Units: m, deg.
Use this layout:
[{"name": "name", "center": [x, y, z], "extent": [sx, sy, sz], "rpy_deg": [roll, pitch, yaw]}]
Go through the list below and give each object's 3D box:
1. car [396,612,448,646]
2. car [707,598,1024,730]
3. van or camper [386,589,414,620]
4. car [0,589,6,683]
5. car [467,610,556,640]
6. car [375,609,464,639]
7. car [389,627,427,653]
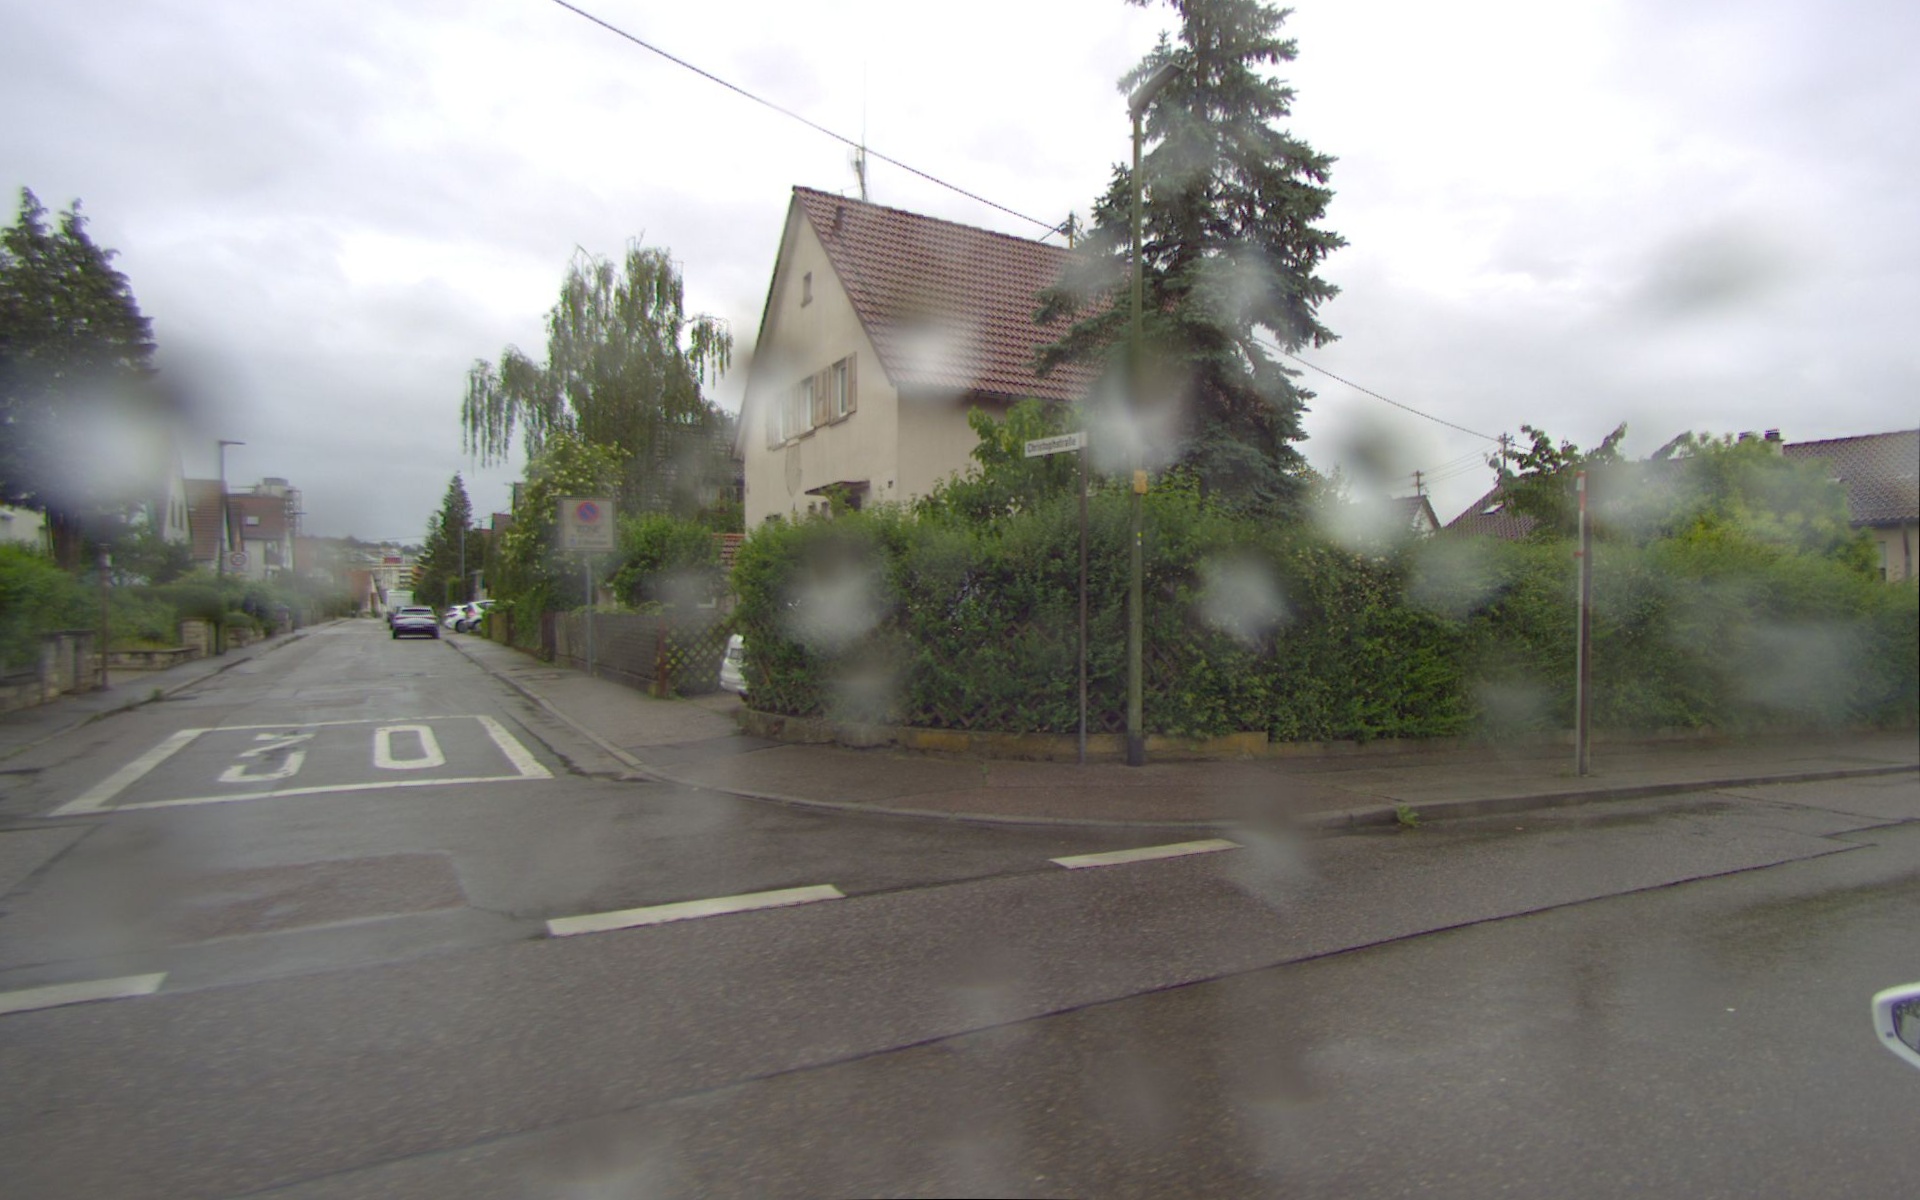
[{"name": "car", "center": [-24.331, 1.280, 45.419], "extent": [1.975, 1.461, 3.970], "rpy_deg": [1, -1, -28]}, {"name": "car", "center": [-1.270, 0.780, 13.826], "extent": [3.951, 1.528, 1.786], "rpy_deg": [-1, 0, -29]}, {"name": "van or camper", "center": [-52.707, 0.419, 94.620], "extent": [2.236, 2.834, 6.424], "rpy_deg": [1, -1, -28]}, {"name": "car", "center": [-13.738, 0.573, 10.906], "extent": [4.492, 1.680, 1.850], "rpy_deg": [4, -2, -30]}, {"name": "car", "center": [-22.425, 1.253, 50.231], "extent": [3.949, 1.461, 1.986], "rpy_deg": [1, -1, -27]}, {"name": "car", "center": [-27.666, 1.216, 51.530], "extent": [3.949, 1.461, 1.986], "rpy_deg": [1, -1, -27]}, {"name": "car", "center": [-33.530, 2.394, 61.074], "extent": [1.975, 1.461, 3.970], "rpy_deg": [1, -1, -28]}]
